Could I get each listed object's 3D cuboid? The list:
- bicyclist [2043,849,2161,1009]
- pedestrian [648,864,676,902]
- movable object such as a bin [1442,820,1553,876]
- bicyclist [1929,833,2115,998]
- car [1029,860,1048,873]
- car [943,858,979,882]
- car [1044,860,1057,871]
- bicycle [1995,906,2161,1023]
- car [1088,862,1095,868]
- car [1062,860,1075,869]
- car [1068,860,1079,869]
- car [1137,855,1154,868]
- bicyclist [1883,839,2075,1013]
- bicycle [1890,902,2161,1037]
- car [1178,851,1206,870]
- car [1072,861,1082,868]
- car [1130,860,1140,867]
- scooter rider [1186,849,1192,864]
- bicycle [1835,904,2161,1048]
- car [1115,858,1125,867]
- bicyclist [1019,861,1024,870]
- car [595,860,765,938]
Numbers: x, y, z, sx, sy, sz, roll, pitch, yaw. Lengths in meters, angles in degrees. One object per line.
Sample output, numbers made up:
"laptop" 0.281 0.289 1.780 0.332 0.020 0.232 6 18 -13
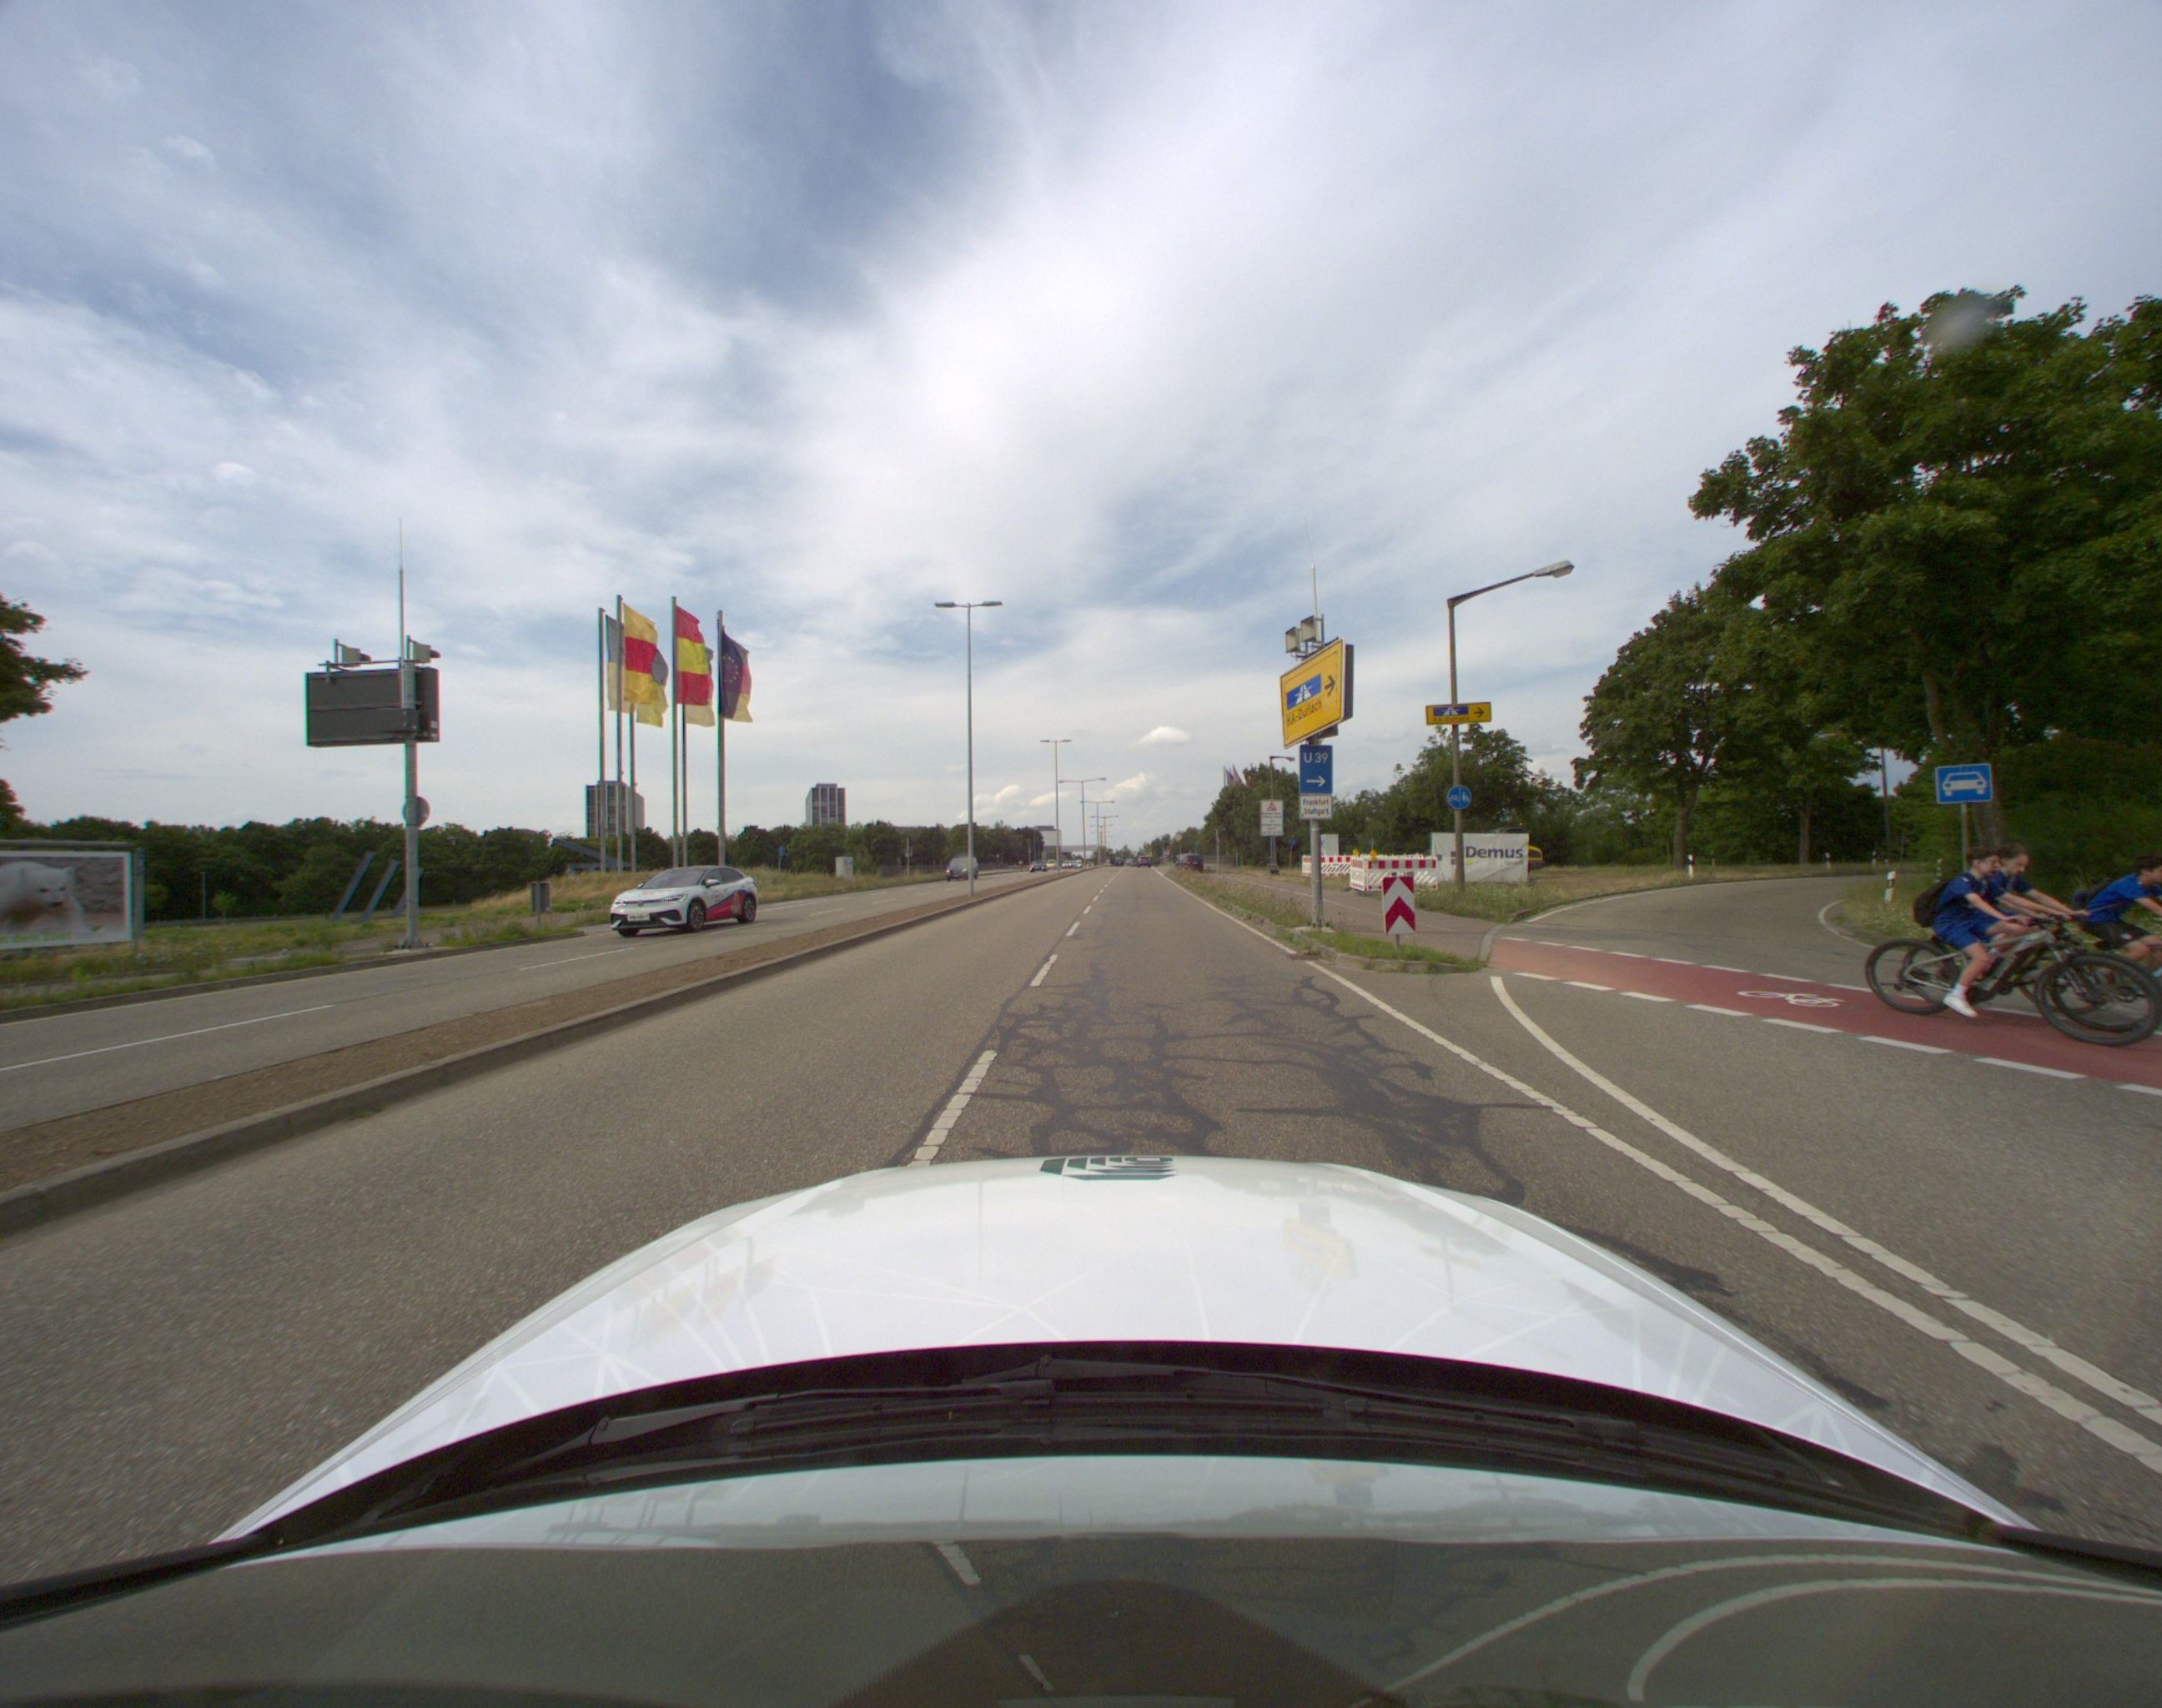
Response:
"bicyclist" 10.337 0.701 7.953 0.741 1.487 0.955 0 -1 -11
"pedestrian" -19.915 1.372 38.730 0.862 1.693 0.679 -3 0 1
"movable object such as a bin" 20.710 -0.278 40.636 4.477 2.689 2.106 0 -1 7
"bicyclist" 9.264 0.574 8.057 0.741 1.518 0.954 0 -1 -12
"car" -5.162 1.479 98.967 1.756 1.441 4.181 -3 0 3
"car" -10.185 1.301 69.514 1.839 1.894 5.511 1 0 5
"car" -4.797 1.726 127.493 1.542 1.578 3.694 -3 0 3
"bicycle" 10.351 1.070 7.965 0.620 1.006 1.780 -3 -1 -11
"car" 2.790 3.004 219.666 1.731 1.481 4.780 -3 -2 3
"car" -2.150 1.792 143.048 1.641 1.515 4.024 -3 0 7
"car" -1.559 2.286 173.035 1.854 1.725 4.776 -3 -1 4
"car" 8.900 1.077 112.616 1.727 1.653 4.109 0 -1 -4
"bicyclist" 8.404 0.632 7.664 0.741 1.518 0.954 0 -1 -12
"bicycle" 9.308 1.047 7.855 0.595 1.037 2.187 2 0 -11
"car" 10.063 0.600 74.219 1.727 1.653 4.109 0 -1 -3
"car" -0.892 2.470 193.934 1.729 1.480 4.479 -3 -1 6
"car" 12.822 2.231 192.782 1.728 1.526 4.106 0 -1 -6
"scooter rider" 12.619 0.328 94.918 0.586 1.690 0.742 0 -1 -5
"bicycle" 8.386 1.037 7.544 0.620 1.006 2.095 2 0 -11
"car" 7.489 1.670 157.201 1.723 1.653 4.119 -1 -1 4
"bicyclist" -10.352 1.971 142.482 0.792 1.626 0.976 0 -1 1
"car" -9.956 1.036 20.709 1.840 1.601 4.564 -2 1 2
